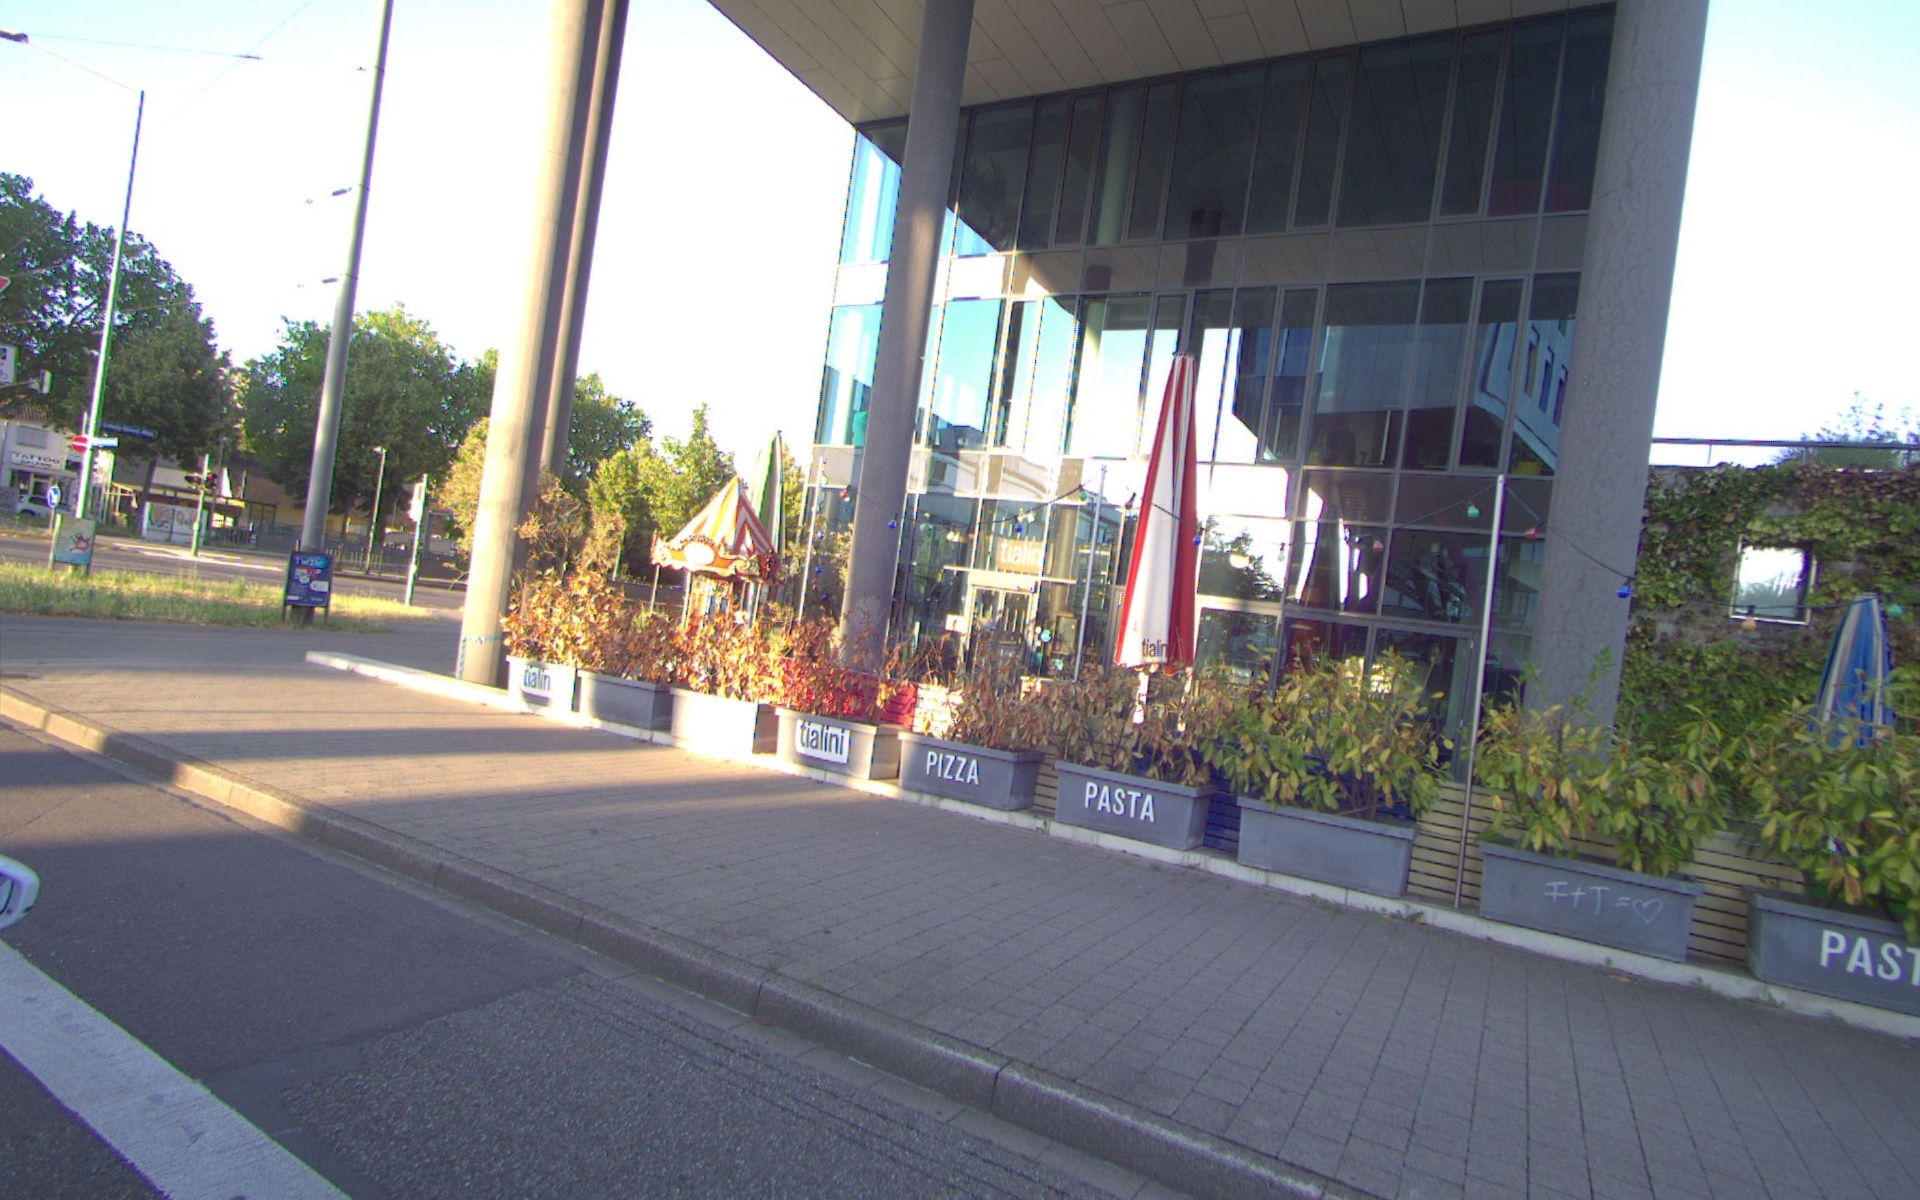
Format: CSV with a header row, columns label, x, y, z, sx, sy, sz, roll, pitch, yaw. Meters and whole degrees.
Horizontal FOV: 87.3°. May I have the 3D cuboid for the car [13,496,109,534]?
label,x,y,z,sx,sy,sz,roll,pitch,yaw
car,-50.158,-4.726,56.149,1.641,1.456,3.736,6,-2,41

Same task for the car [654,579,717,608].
label,x,y,z,sx,sy,sz,roll,pitch,yaw
car,-19.769,-0.423,72.633,1.774,1.513,4.341,6,-2,29

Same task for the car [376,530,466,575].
label,x,y,z,sx,sy,sz,roll,pitch,yaw
car,-42.564,-3.718,79.559,2.197,2.581,5.594,7,-2,39
